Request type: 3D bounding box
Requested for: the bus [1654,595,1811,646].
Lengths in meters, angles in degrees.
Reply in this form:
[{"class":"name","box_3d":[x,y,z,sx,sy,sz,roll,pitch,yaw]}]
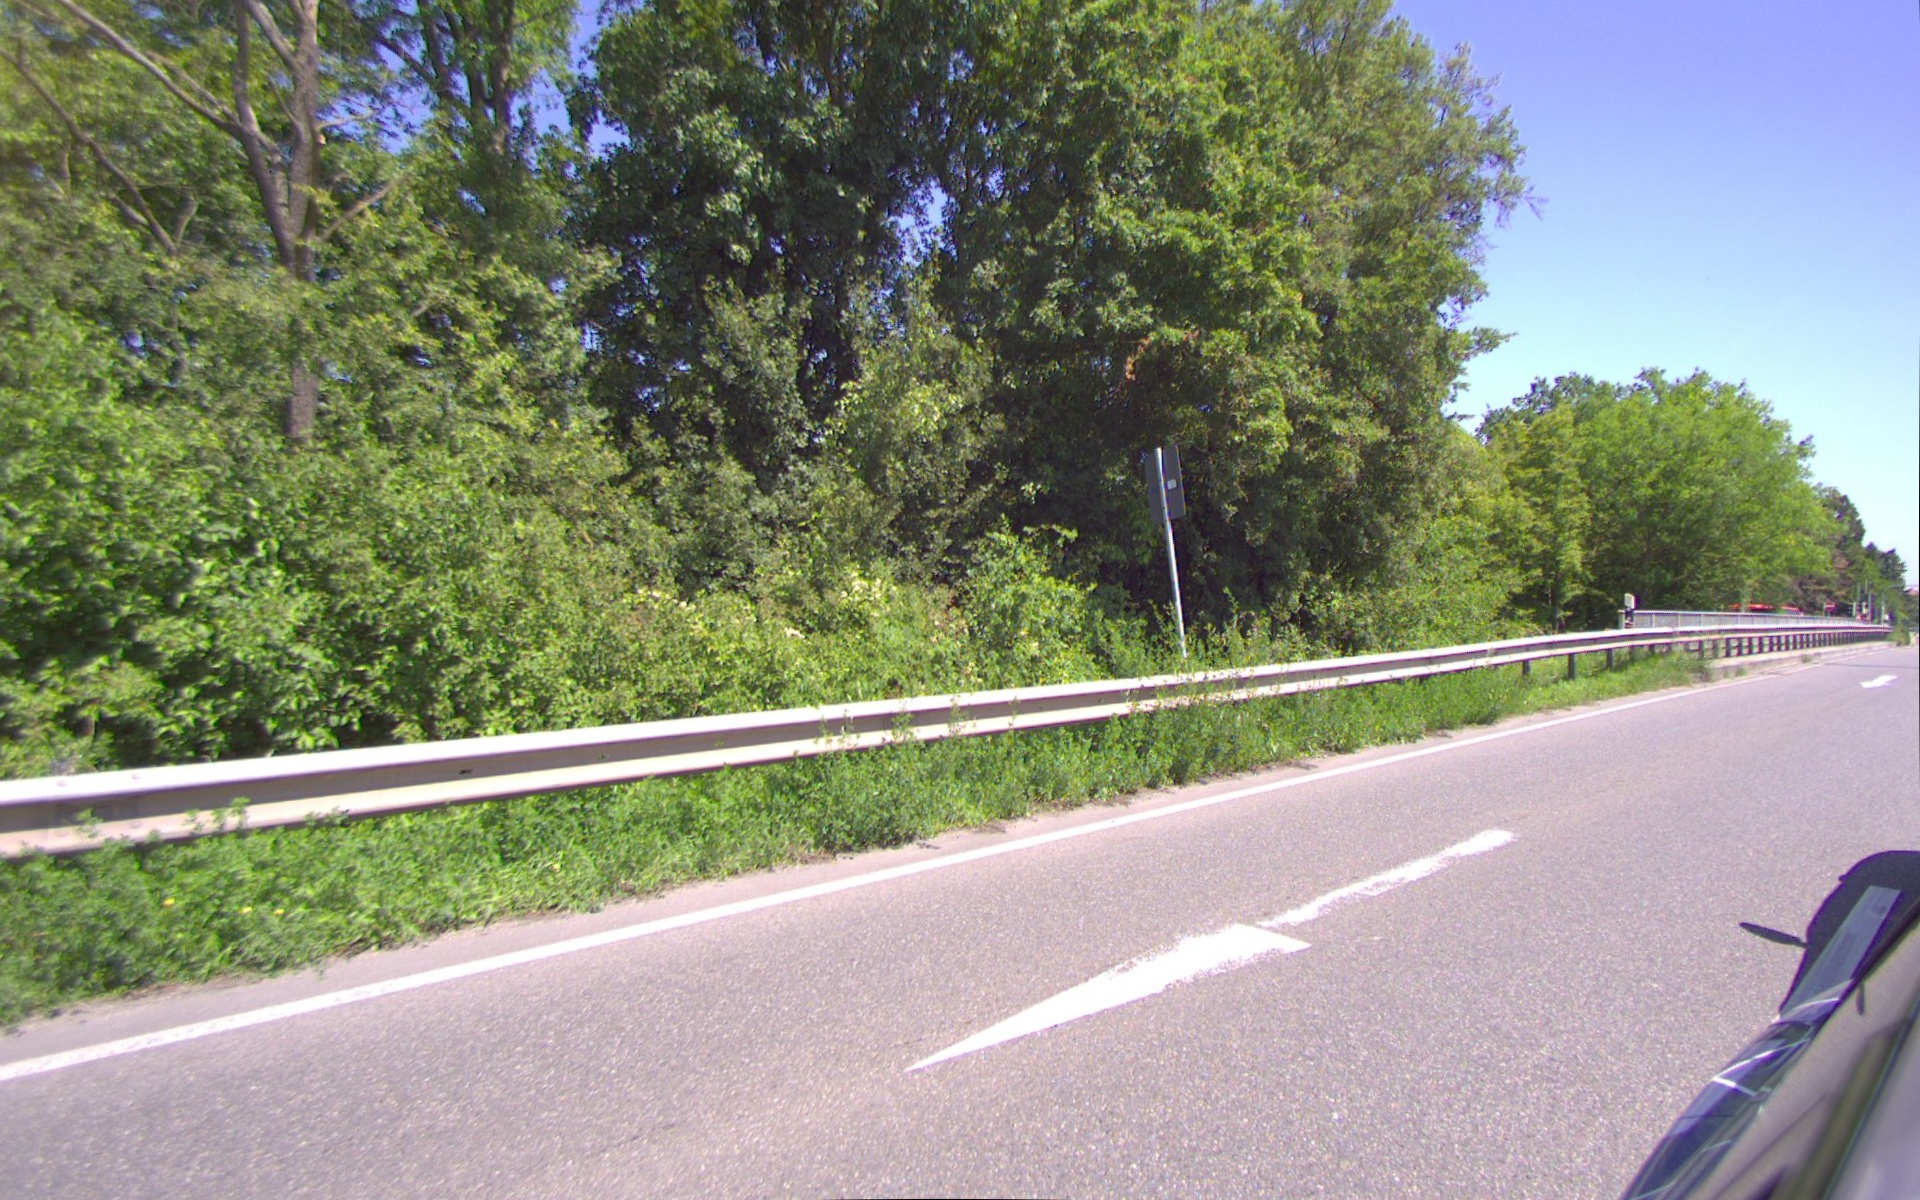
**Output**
[{"class":"bus","box_3d":[64.564,1.602,85.209,2.811,3.708,12.444,1,1,-5]}]
